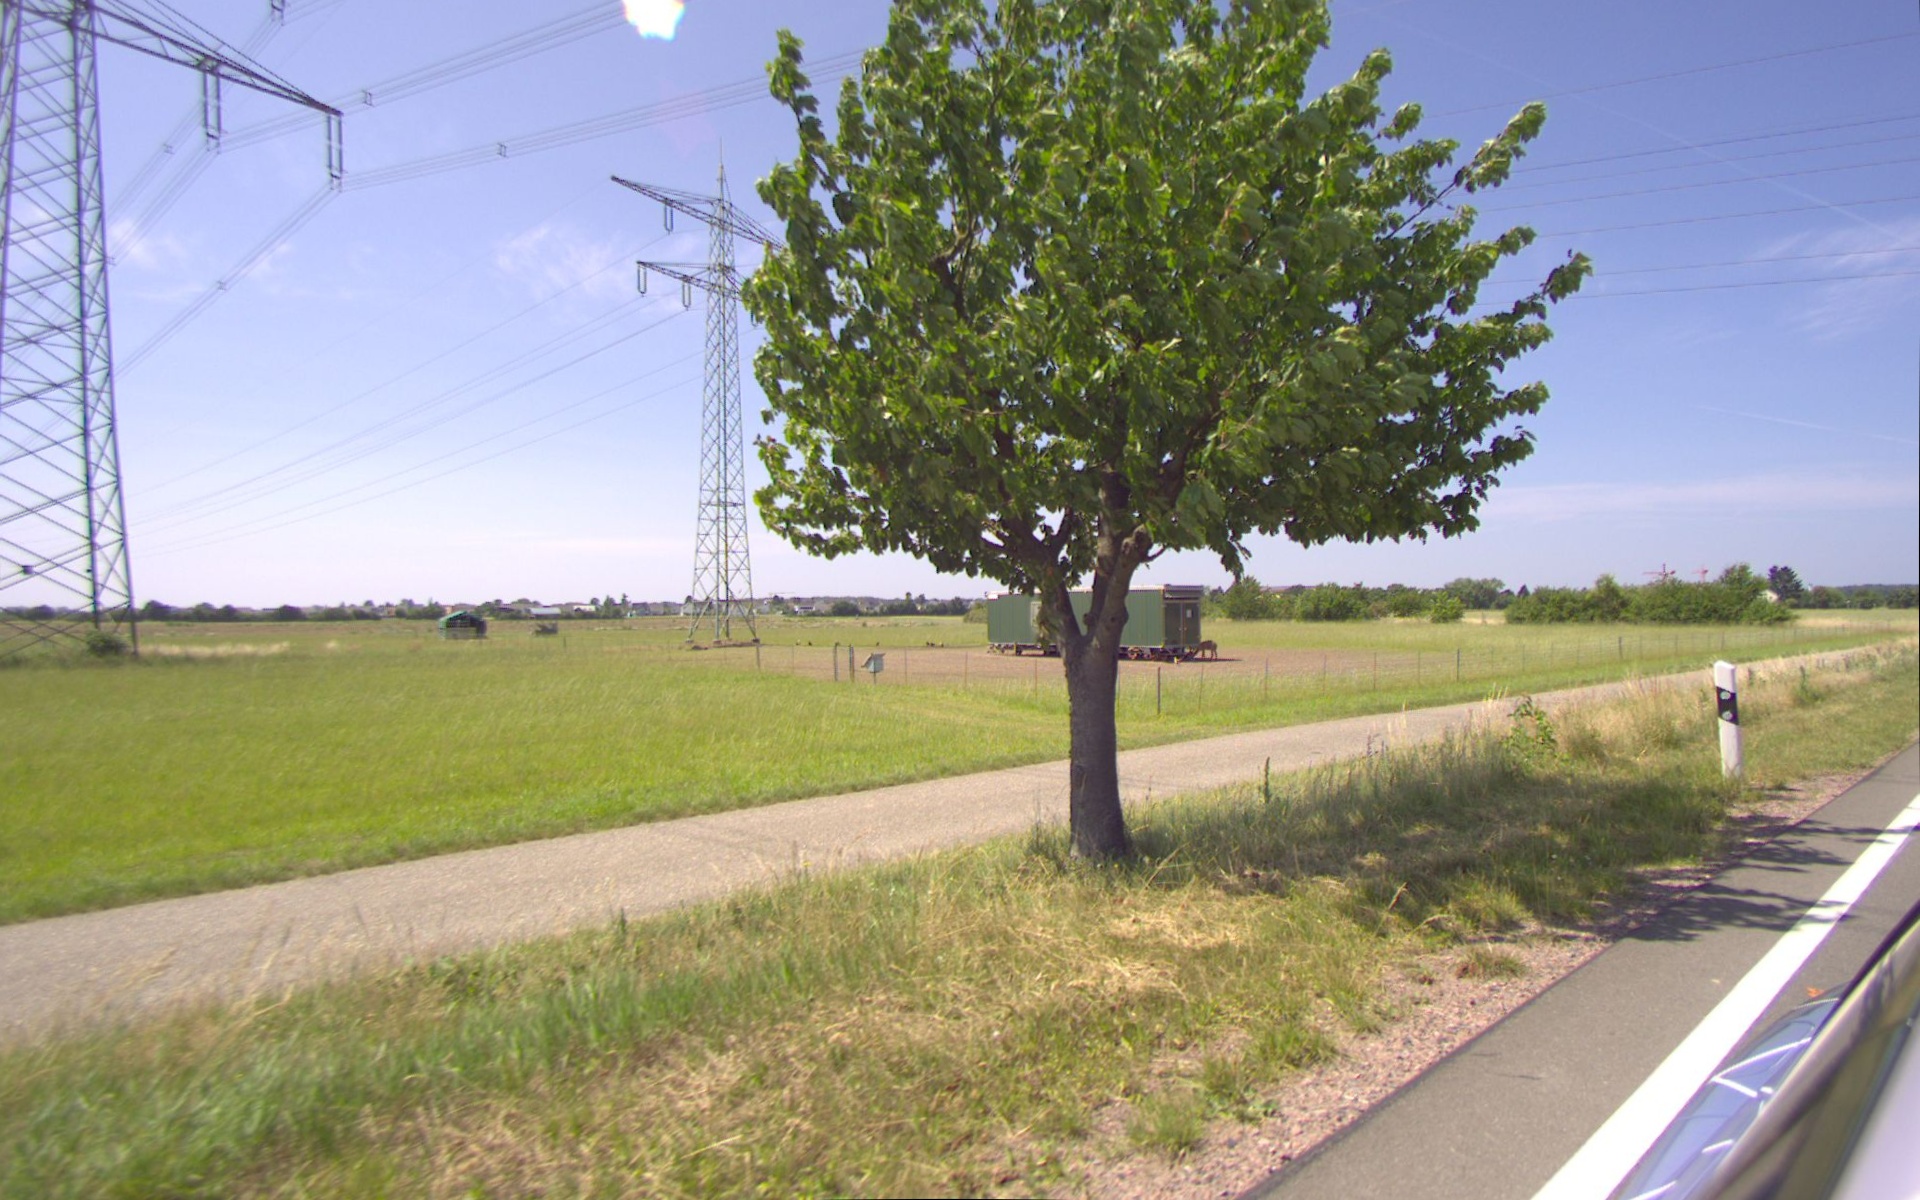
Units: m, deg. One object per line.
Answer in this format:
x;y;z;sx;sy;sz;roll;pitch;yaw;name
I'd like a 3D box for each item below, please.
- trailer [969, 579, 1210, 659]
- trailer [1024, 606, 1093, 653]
6.059;0.926;51.208;3.218;3.519;13.533;0;-1;-40;trailer
5.460;1.605;56.237;2.002;2.494;3.413;0;-1;-40;trailer
